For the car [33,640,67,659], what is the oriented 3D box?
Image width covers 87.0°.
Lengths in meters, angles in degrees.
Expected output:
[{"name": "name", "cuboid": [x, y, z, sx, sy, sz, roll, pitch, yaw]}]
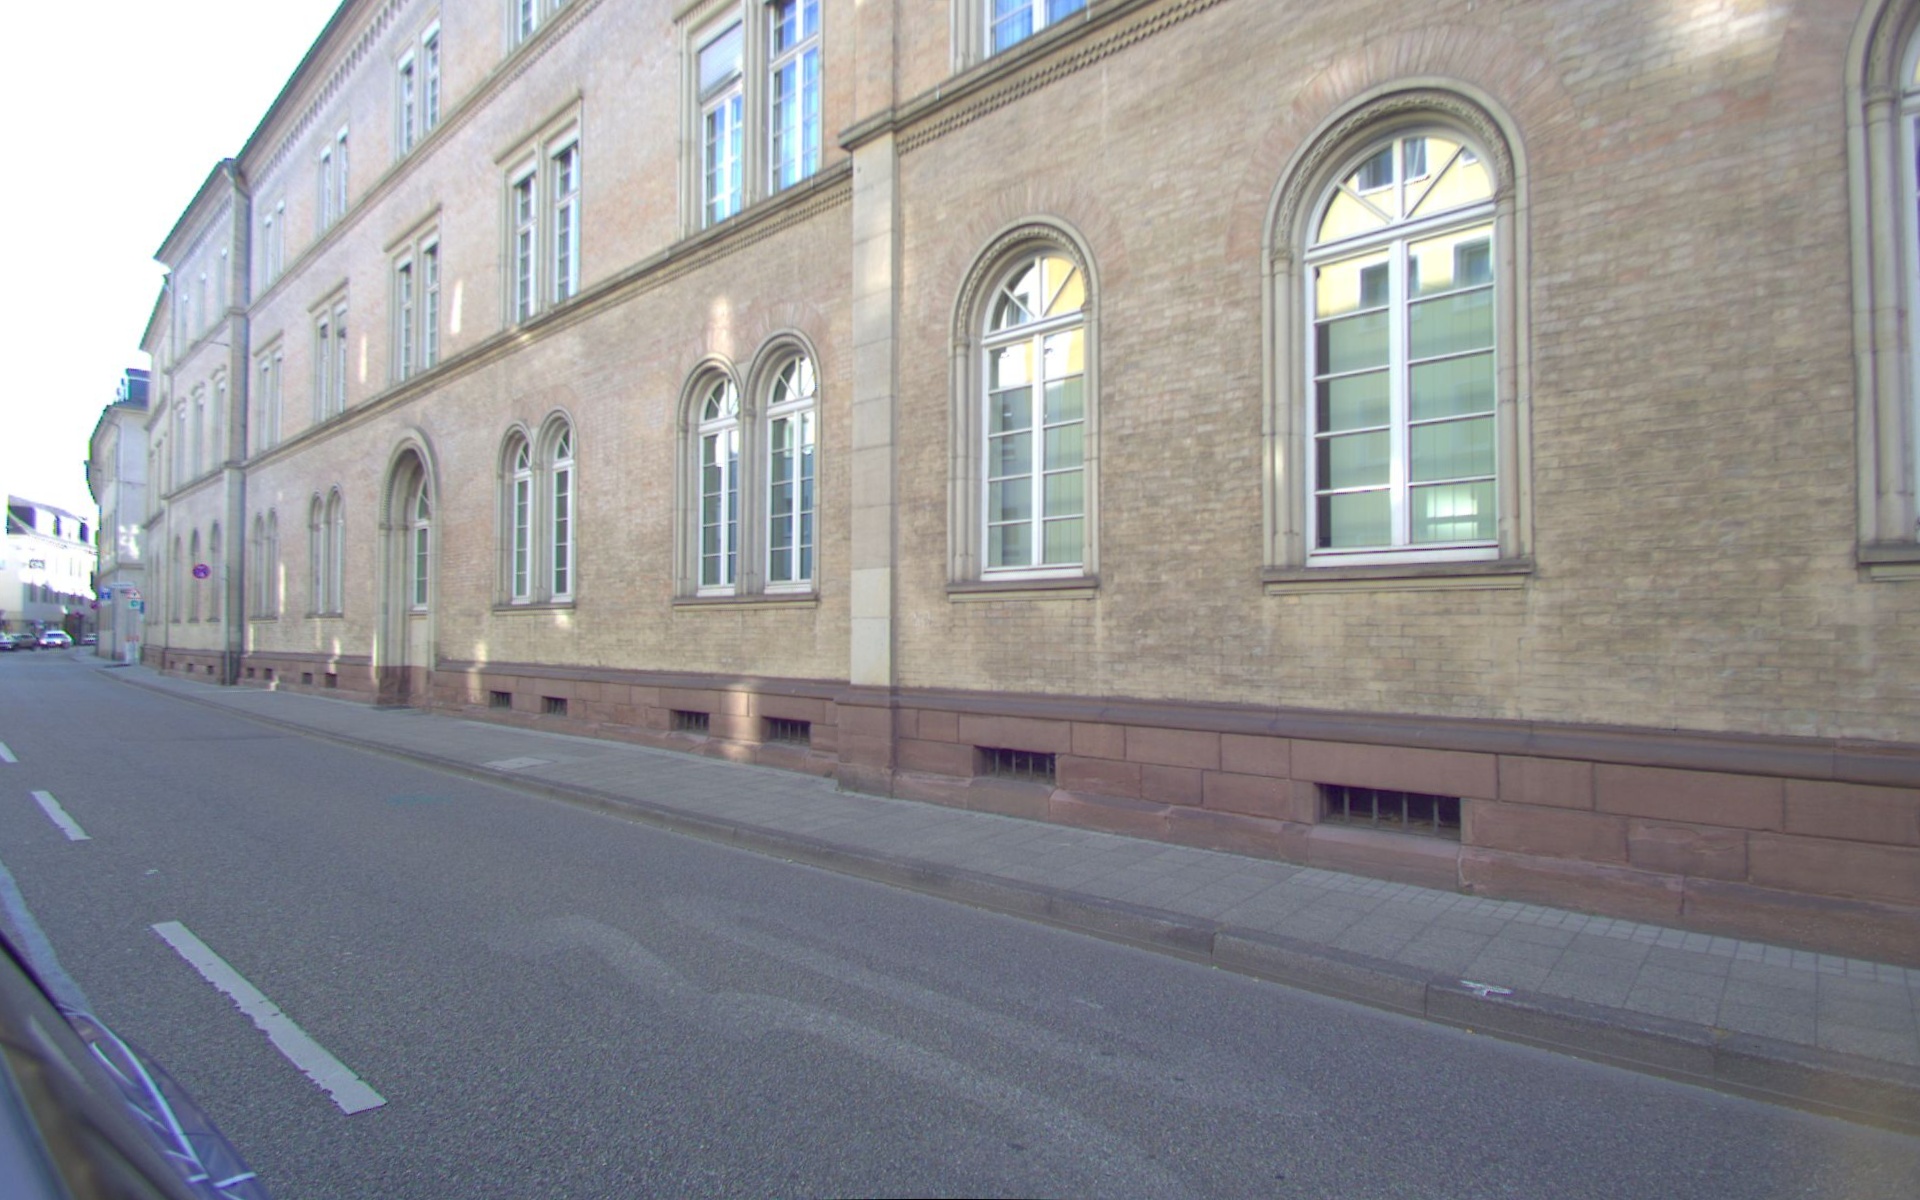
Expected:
[{"name": "car", "cuboid": [-89.303, 4.832, 99.335, 1.892, 1.735, 4.972, 1, -2, -35]}]

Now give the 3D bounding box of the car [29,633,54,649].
[{"name": "car", "cuboid": [-102.356, 4.590, 112.791, 1.511, 1.737, 3.749, 1, -2, -34]}]

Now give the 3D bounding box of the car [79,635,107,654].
[{"name": "car", "cuboid": [-80.409, 4.077, 93.863, 1.638, 1.737, 3.748, 1, -3, -36]}]

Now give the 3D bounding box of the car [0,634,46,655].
[{"name": "car", "cuboid": [-81.650, 3.849, 87.891, 1.832, 1.737, 3.749, 0, -2, -15]}]

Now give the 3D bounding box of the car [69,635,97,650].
[{"name": "car", "cuboid": [-109.374, 5.295, 126.270, 1.896, 1.737, 4.242, 1, -2, -31]}]

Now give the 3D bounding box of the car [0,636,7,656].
[{"name": "car", "cuboid": [-85.932, 4.075, 89.868, 1.512, 1.737, 3.747, 1, -2, -37]}]
